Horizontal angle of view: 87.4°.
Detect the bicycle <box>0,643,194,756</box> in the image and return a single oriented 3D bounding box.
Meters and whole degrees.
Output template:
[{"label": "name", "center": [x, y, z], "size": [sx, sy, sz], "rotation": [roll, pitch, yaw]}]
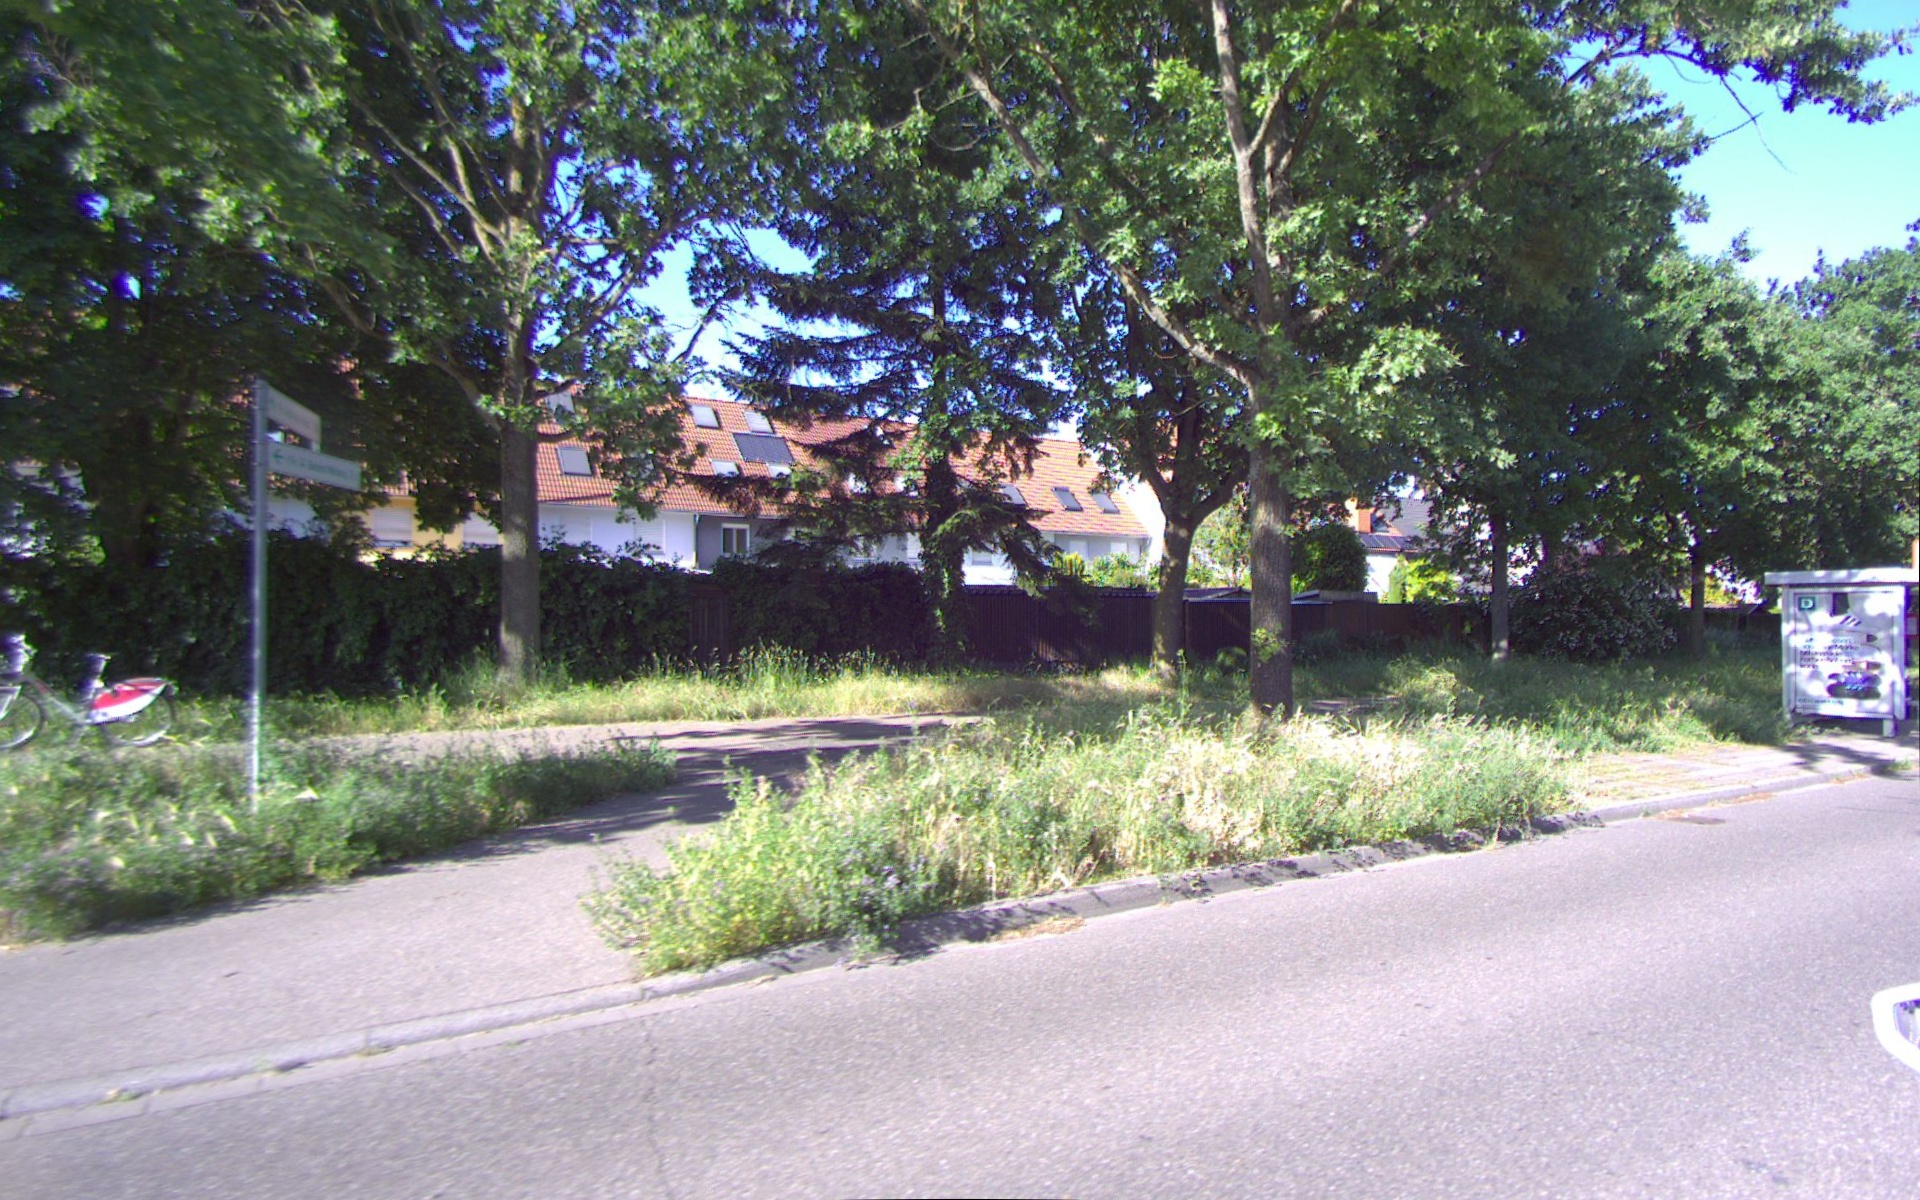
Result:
[{"label": "bicycle", "center": [-8.936, 0.980, 10.122], "size": [1.858, 1.067, 0.503], "rotation": [1, -1, -31]}]
